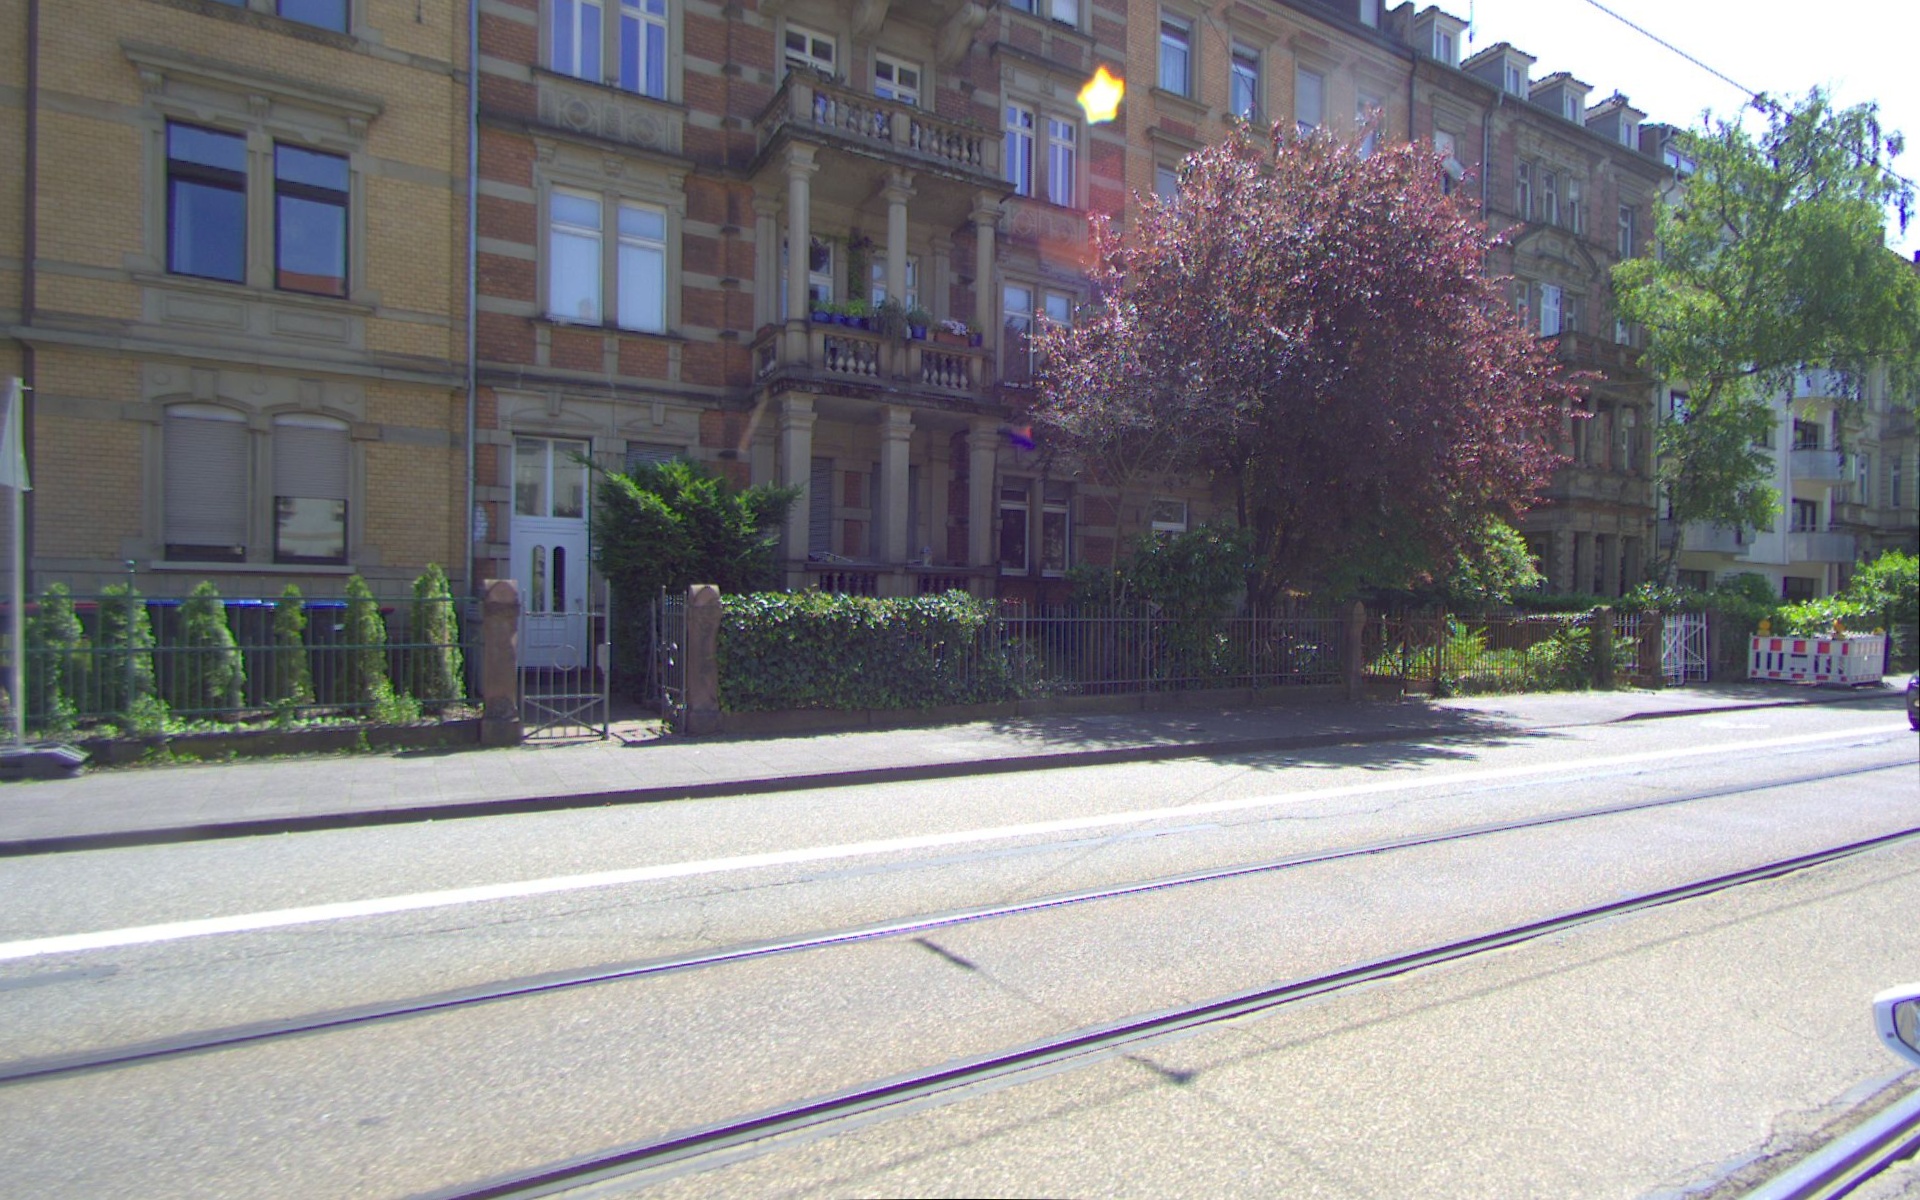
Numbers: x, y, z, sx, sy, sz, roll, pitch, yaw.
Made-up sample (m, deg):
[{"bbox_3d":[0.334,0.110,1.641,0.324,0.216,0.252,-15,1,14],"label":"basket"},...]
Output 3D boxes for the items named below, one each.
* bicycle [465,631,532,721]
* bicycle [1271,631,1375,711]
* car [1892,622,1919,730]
[{"bbox_3d":[-5.811,0.911,12.610,0.451,1.016,1.789,1,-1,-35],"label":"bicycle"},{"bbox_3d":[6.244,1.199,17.320,0.506,1.203,1.594,0,3,-42],"label":"bicycle"},{"bbox_3d":[15.075,1.067,14.288,3.704,1.474,1.678,1,-1,-30],"label":"car"}]
